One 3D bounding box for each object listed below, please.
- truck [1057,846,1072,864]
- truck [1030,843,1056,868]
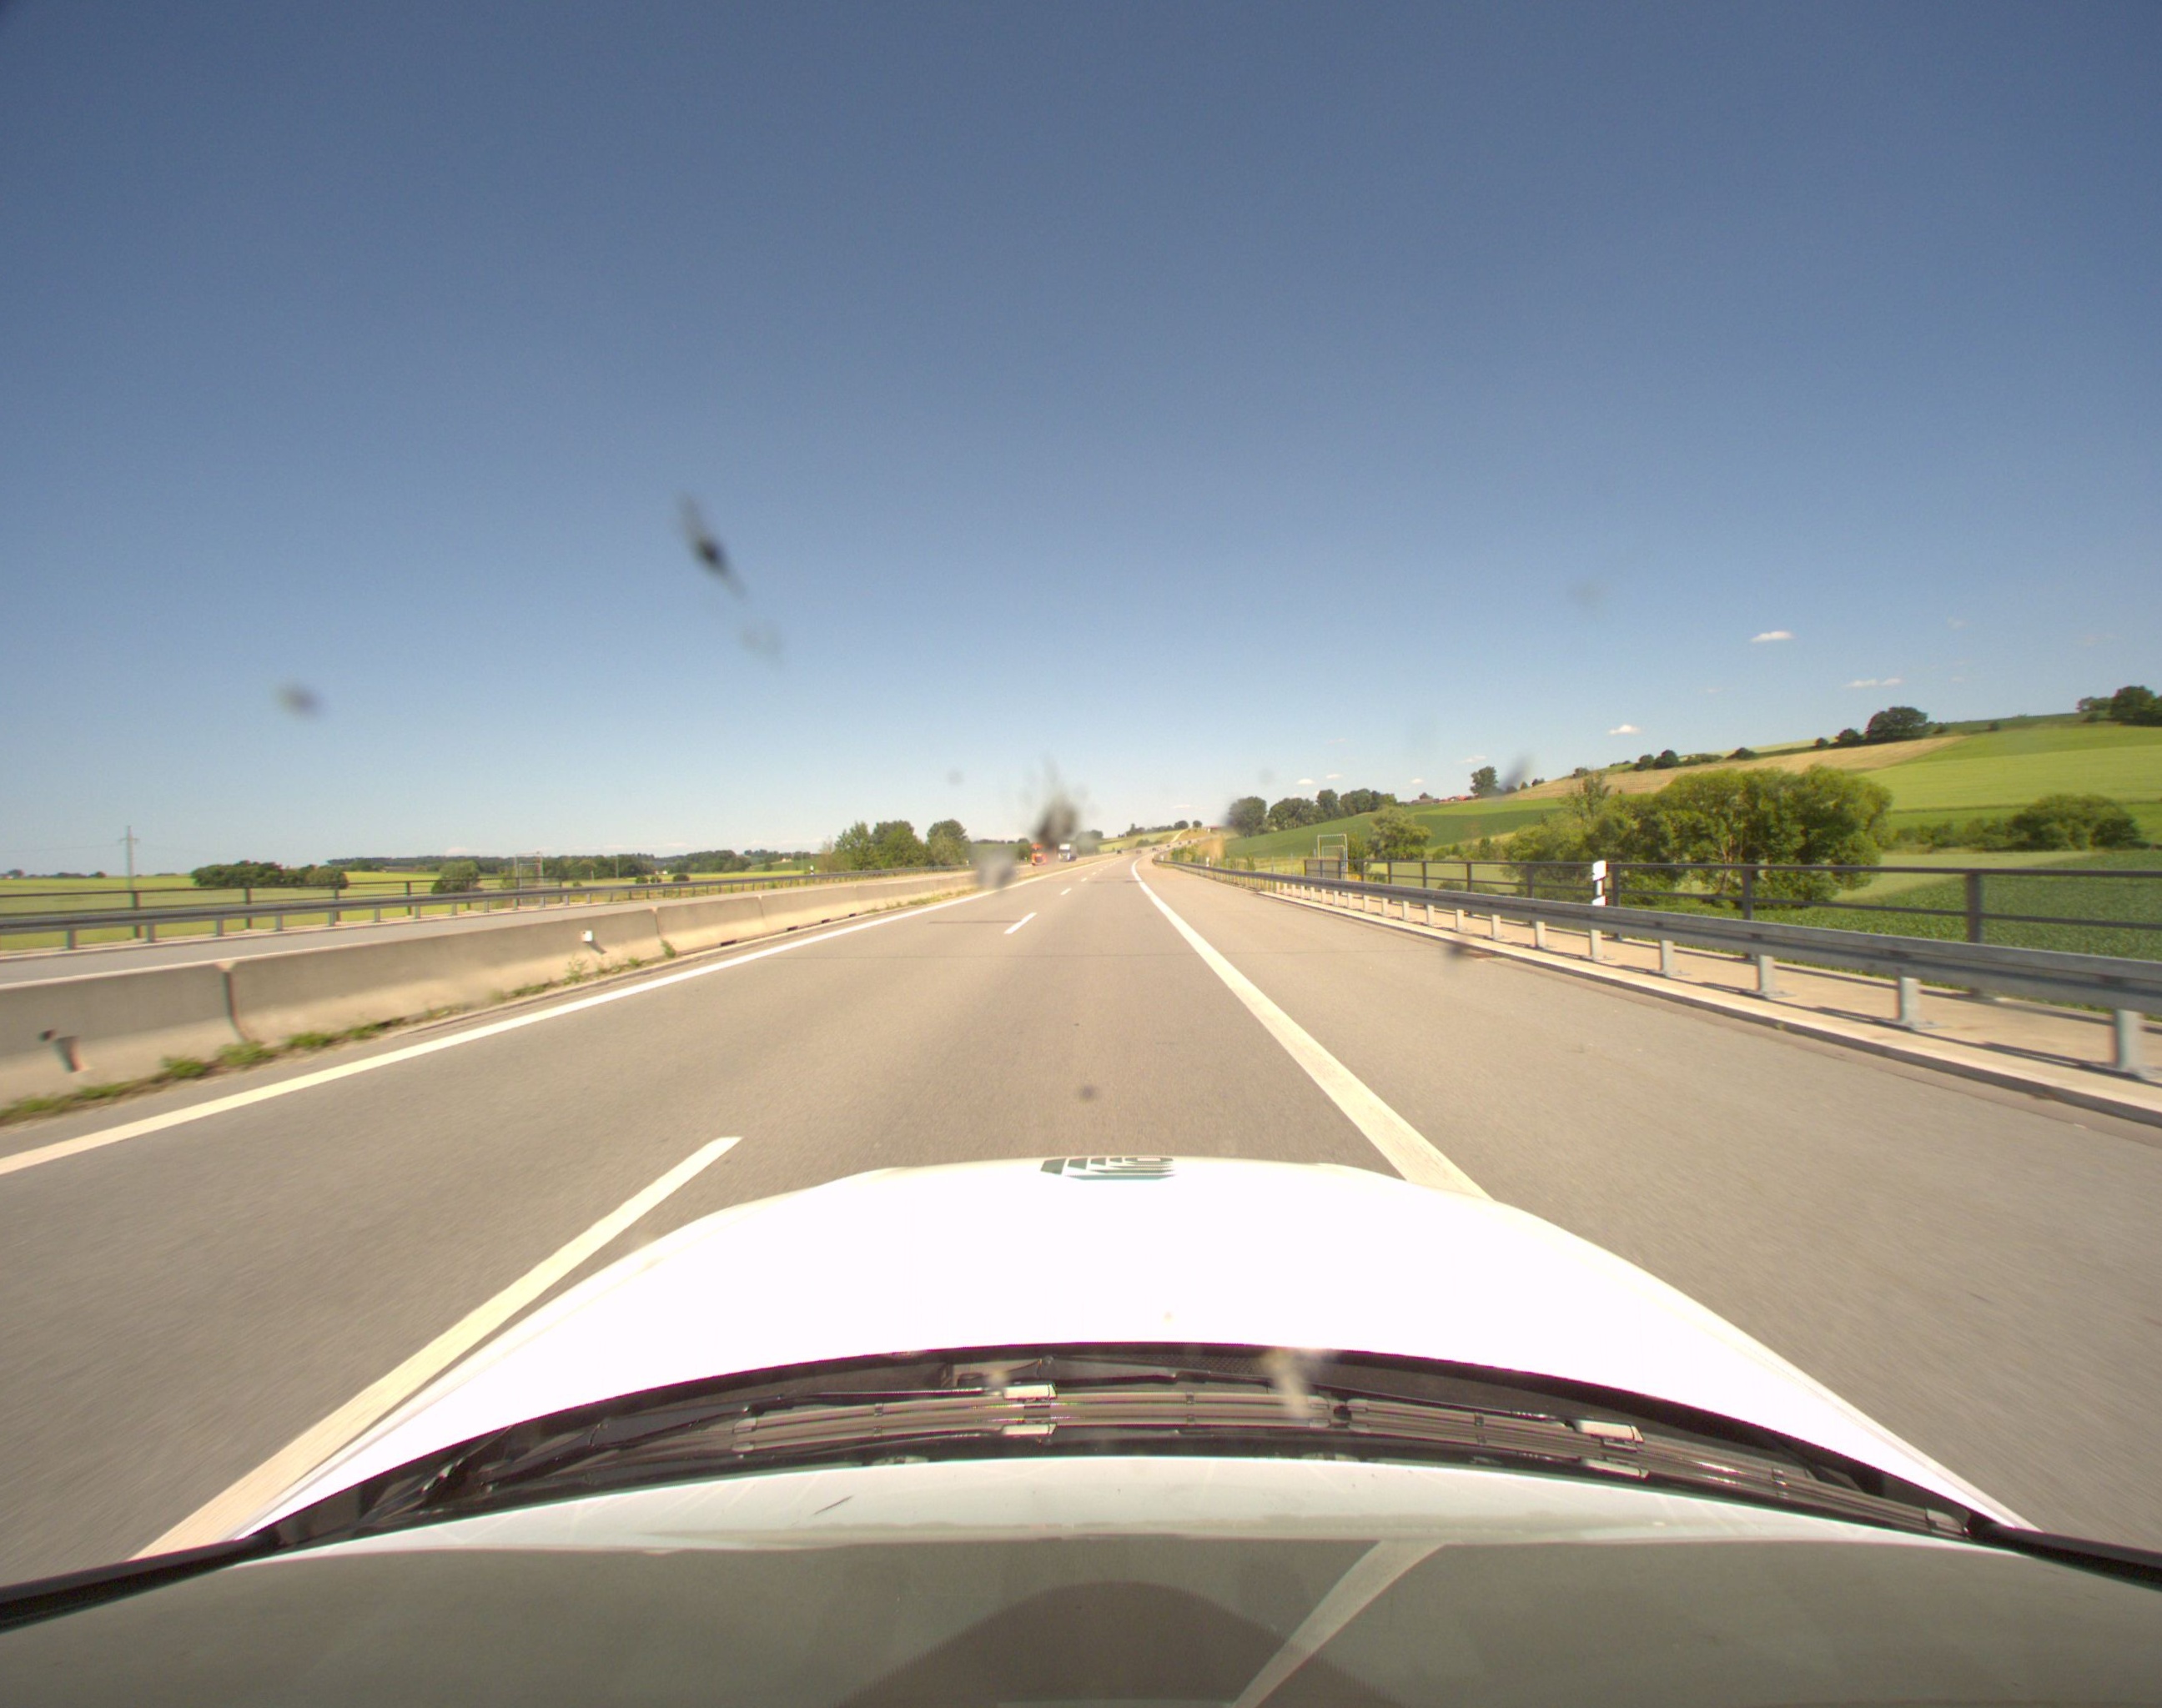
[{"bbox_3d":[-3.756,0.297,185.625,2.848,3.873,5.990,-2,0,4],"label":"truck"},{"bbox_3d":[-6.626,0.258,145.955,2.855,4.015,17.129,-2,0,3],"label":"truck"}]
